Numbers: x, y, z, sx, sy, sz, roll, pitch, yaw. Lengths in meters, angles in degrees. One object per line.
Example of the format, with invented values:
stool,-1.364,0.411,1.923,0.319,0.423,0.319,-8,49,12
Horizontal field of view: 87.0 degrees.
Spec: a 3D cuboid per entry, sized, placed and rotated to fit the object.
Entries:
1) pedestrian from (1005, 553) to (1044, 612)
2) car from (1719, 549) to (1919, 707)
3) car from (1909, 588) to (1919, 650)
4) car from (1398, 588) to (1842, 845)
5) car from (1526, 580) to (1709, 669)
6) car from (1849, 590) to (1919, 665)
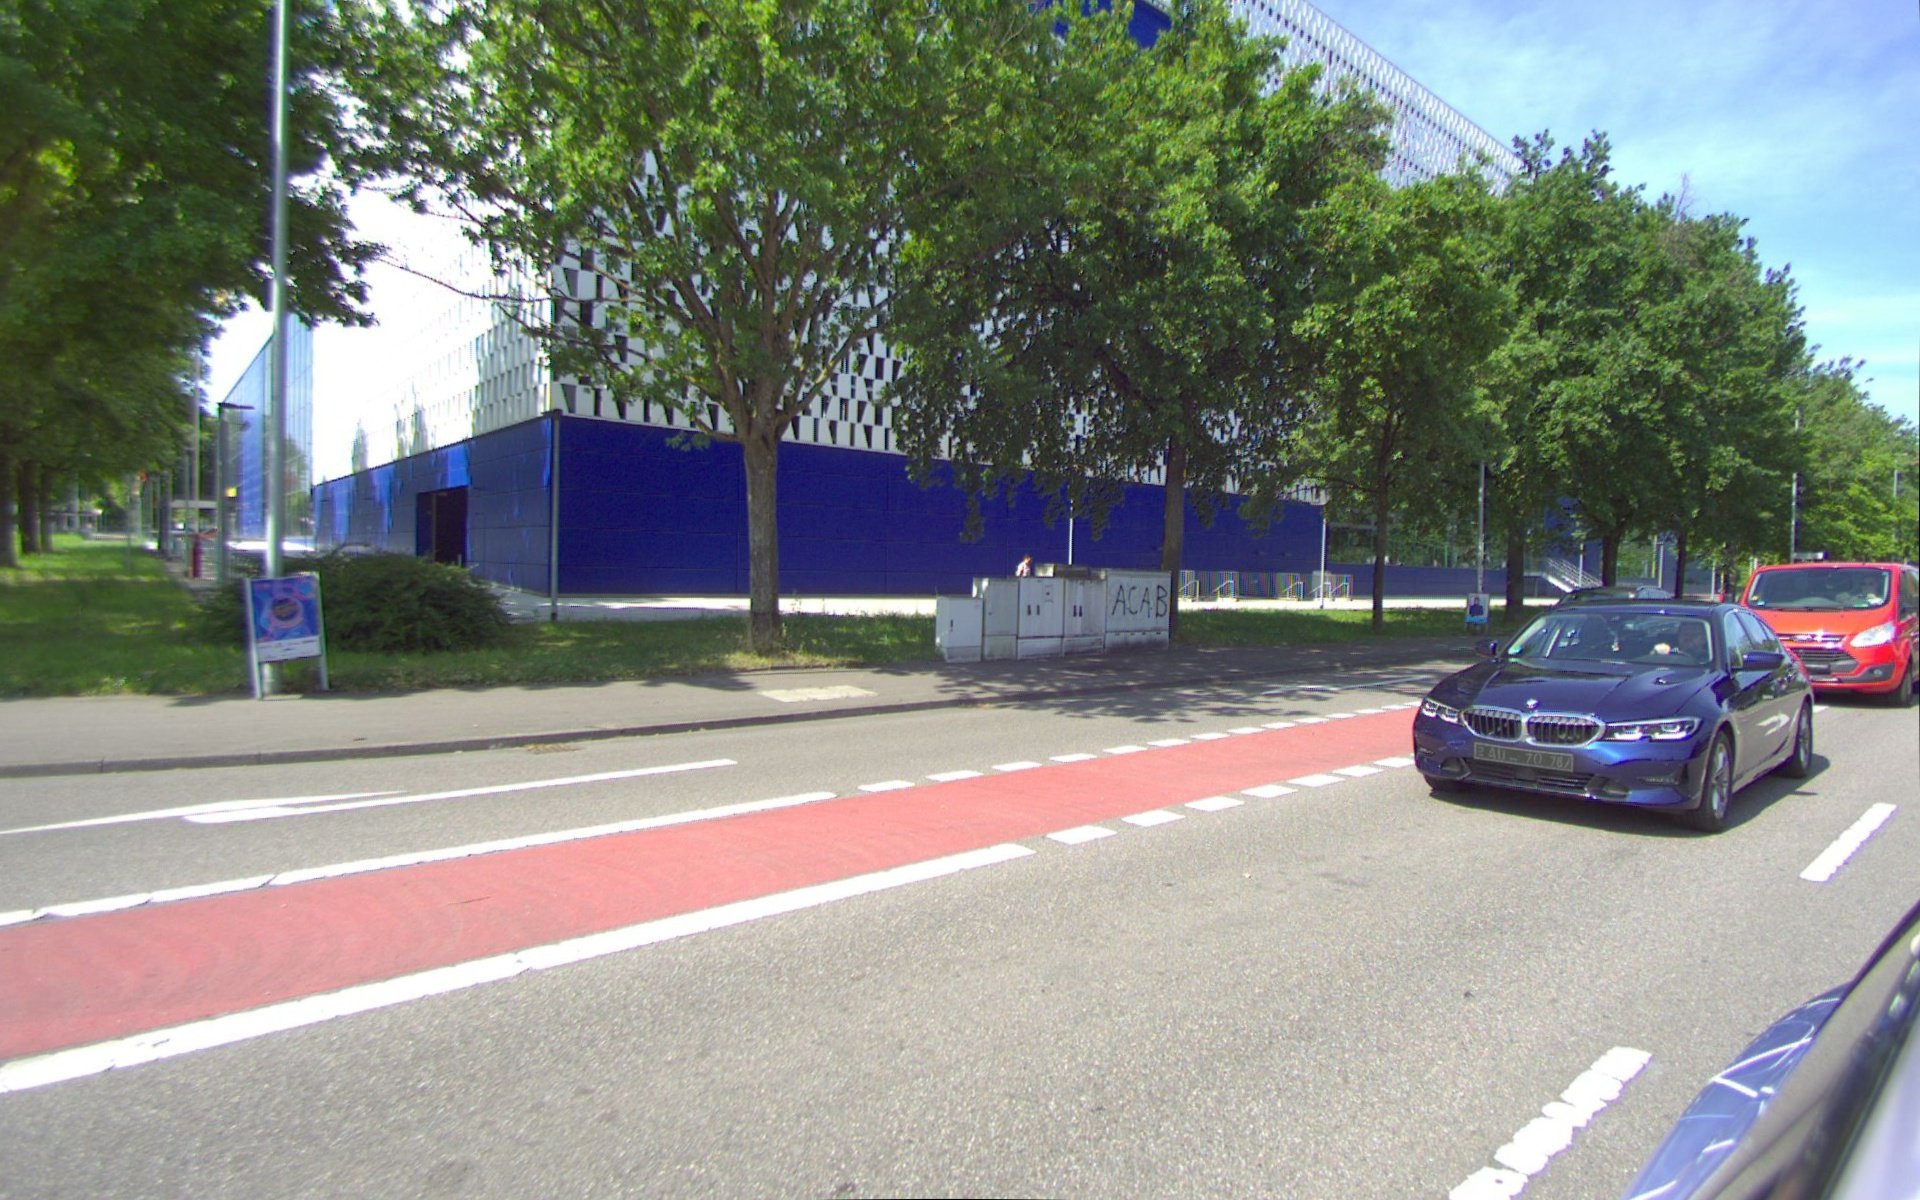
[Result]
pedestrian,1.769,-0.489,27.757,0.767,1.565,0.680,0,2,-40
car,12.857,0.322,14.719,4.727,1.931,2.012,0,0,-42
car,25.954,0.457,26.239,3.932,1.559,1.647,0,-1,-42
car,5.329,0.638,7.900,4.459,1.447,1.798,0,1,-42
car,13.907,0.430,21.336,4.311,1.676,1.998,-1,1,-39
car,19.998,0.528,21.183,3.849,1.440,1.690,0,1,-42
